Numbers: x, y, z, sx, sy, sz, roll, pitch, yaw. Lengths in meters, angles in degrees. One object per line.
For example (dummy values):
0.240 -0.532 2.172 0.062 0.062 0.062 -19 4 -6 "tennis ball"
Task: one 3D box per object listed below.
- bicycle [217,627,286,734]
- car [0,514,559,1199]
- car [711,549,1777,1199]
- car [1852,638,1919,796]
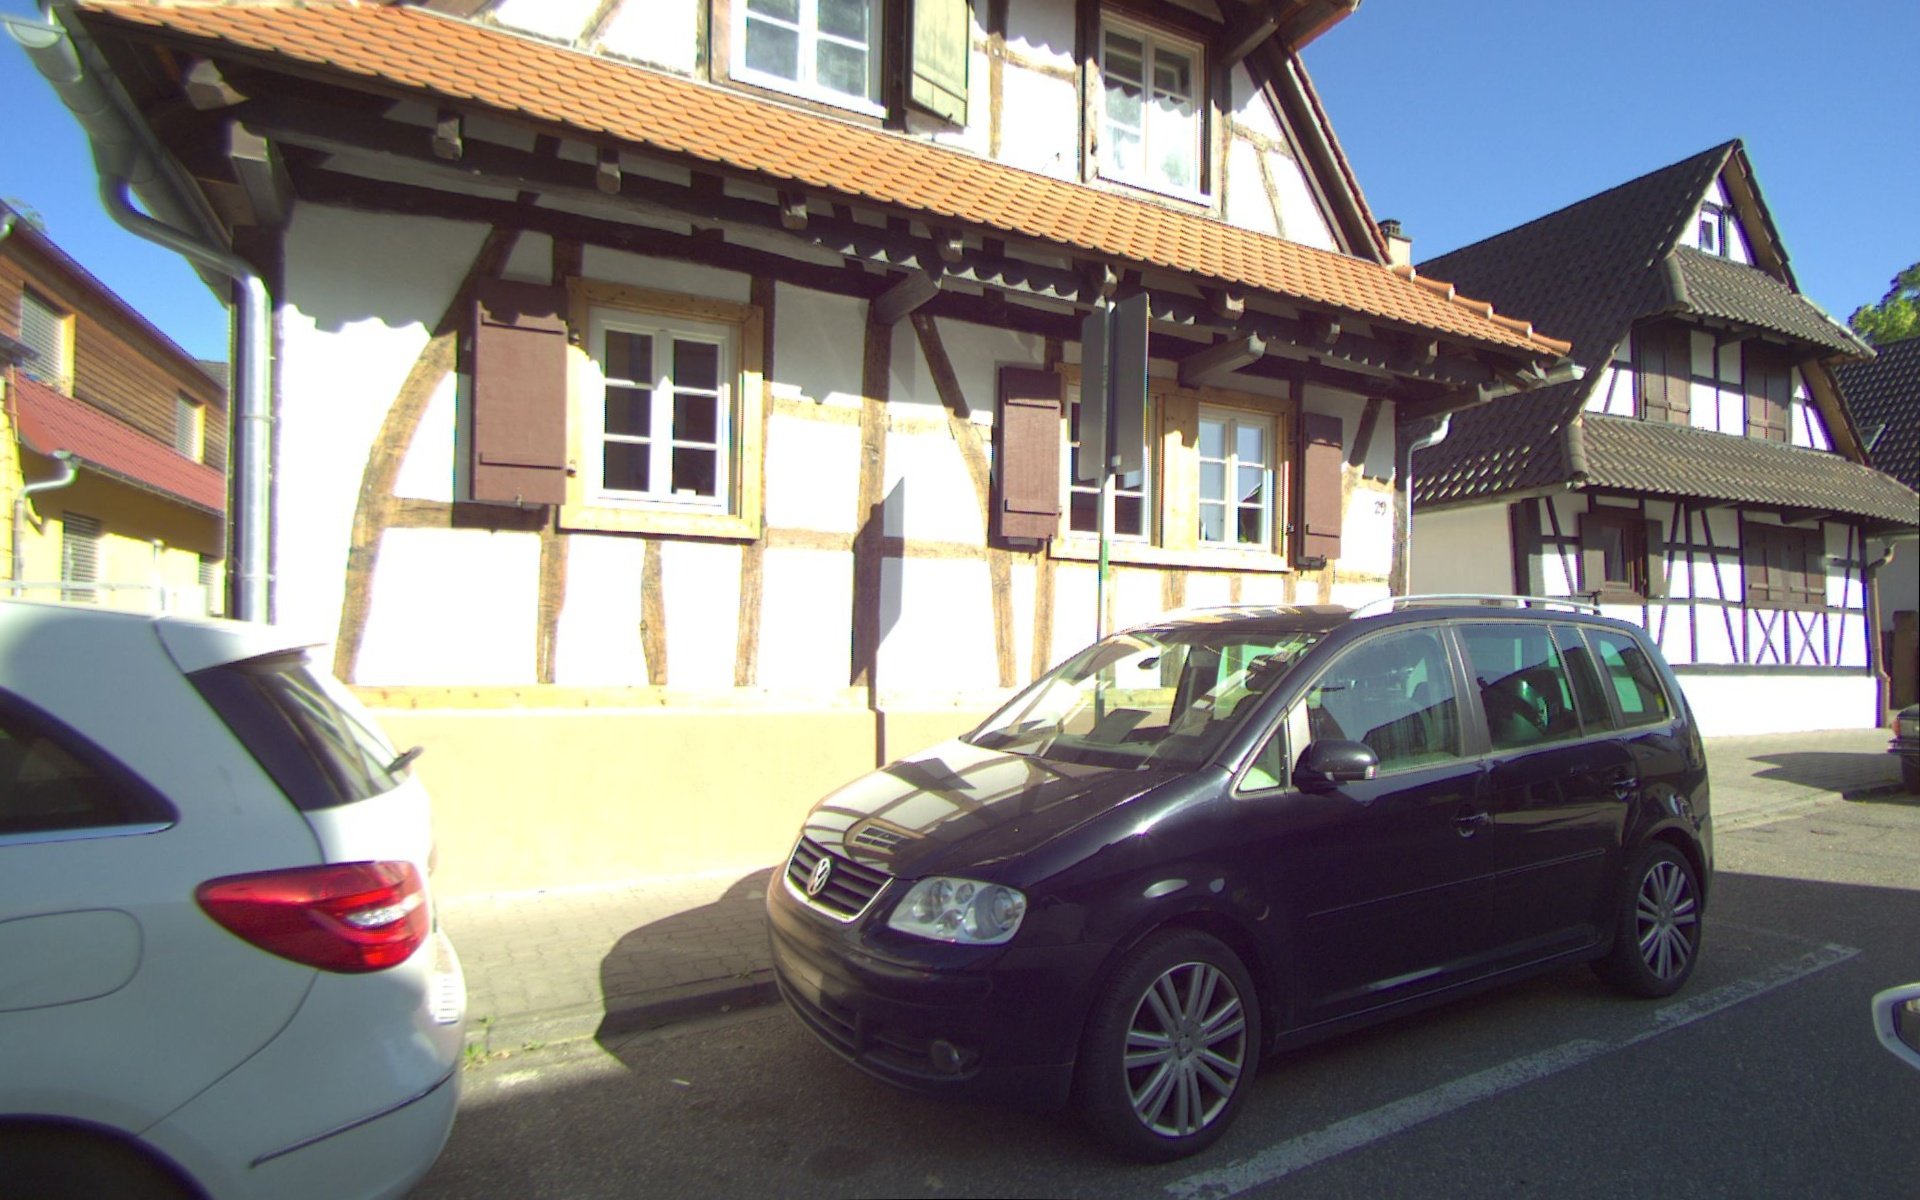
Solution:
-7.565 0.820 10.762 0.529 0.967 1.708 2 0 -34 "bicycle"
-3.006 0.641 1.682 4.119 1.587 1.808 2 -2 -30 "car"
1.346 0.772 4.184 4.309 1.626 1.776 2 -2 -30 "car"
11.016 1.115 9.892 4.977 1.424 1.836 2 -3 -30 "car"
